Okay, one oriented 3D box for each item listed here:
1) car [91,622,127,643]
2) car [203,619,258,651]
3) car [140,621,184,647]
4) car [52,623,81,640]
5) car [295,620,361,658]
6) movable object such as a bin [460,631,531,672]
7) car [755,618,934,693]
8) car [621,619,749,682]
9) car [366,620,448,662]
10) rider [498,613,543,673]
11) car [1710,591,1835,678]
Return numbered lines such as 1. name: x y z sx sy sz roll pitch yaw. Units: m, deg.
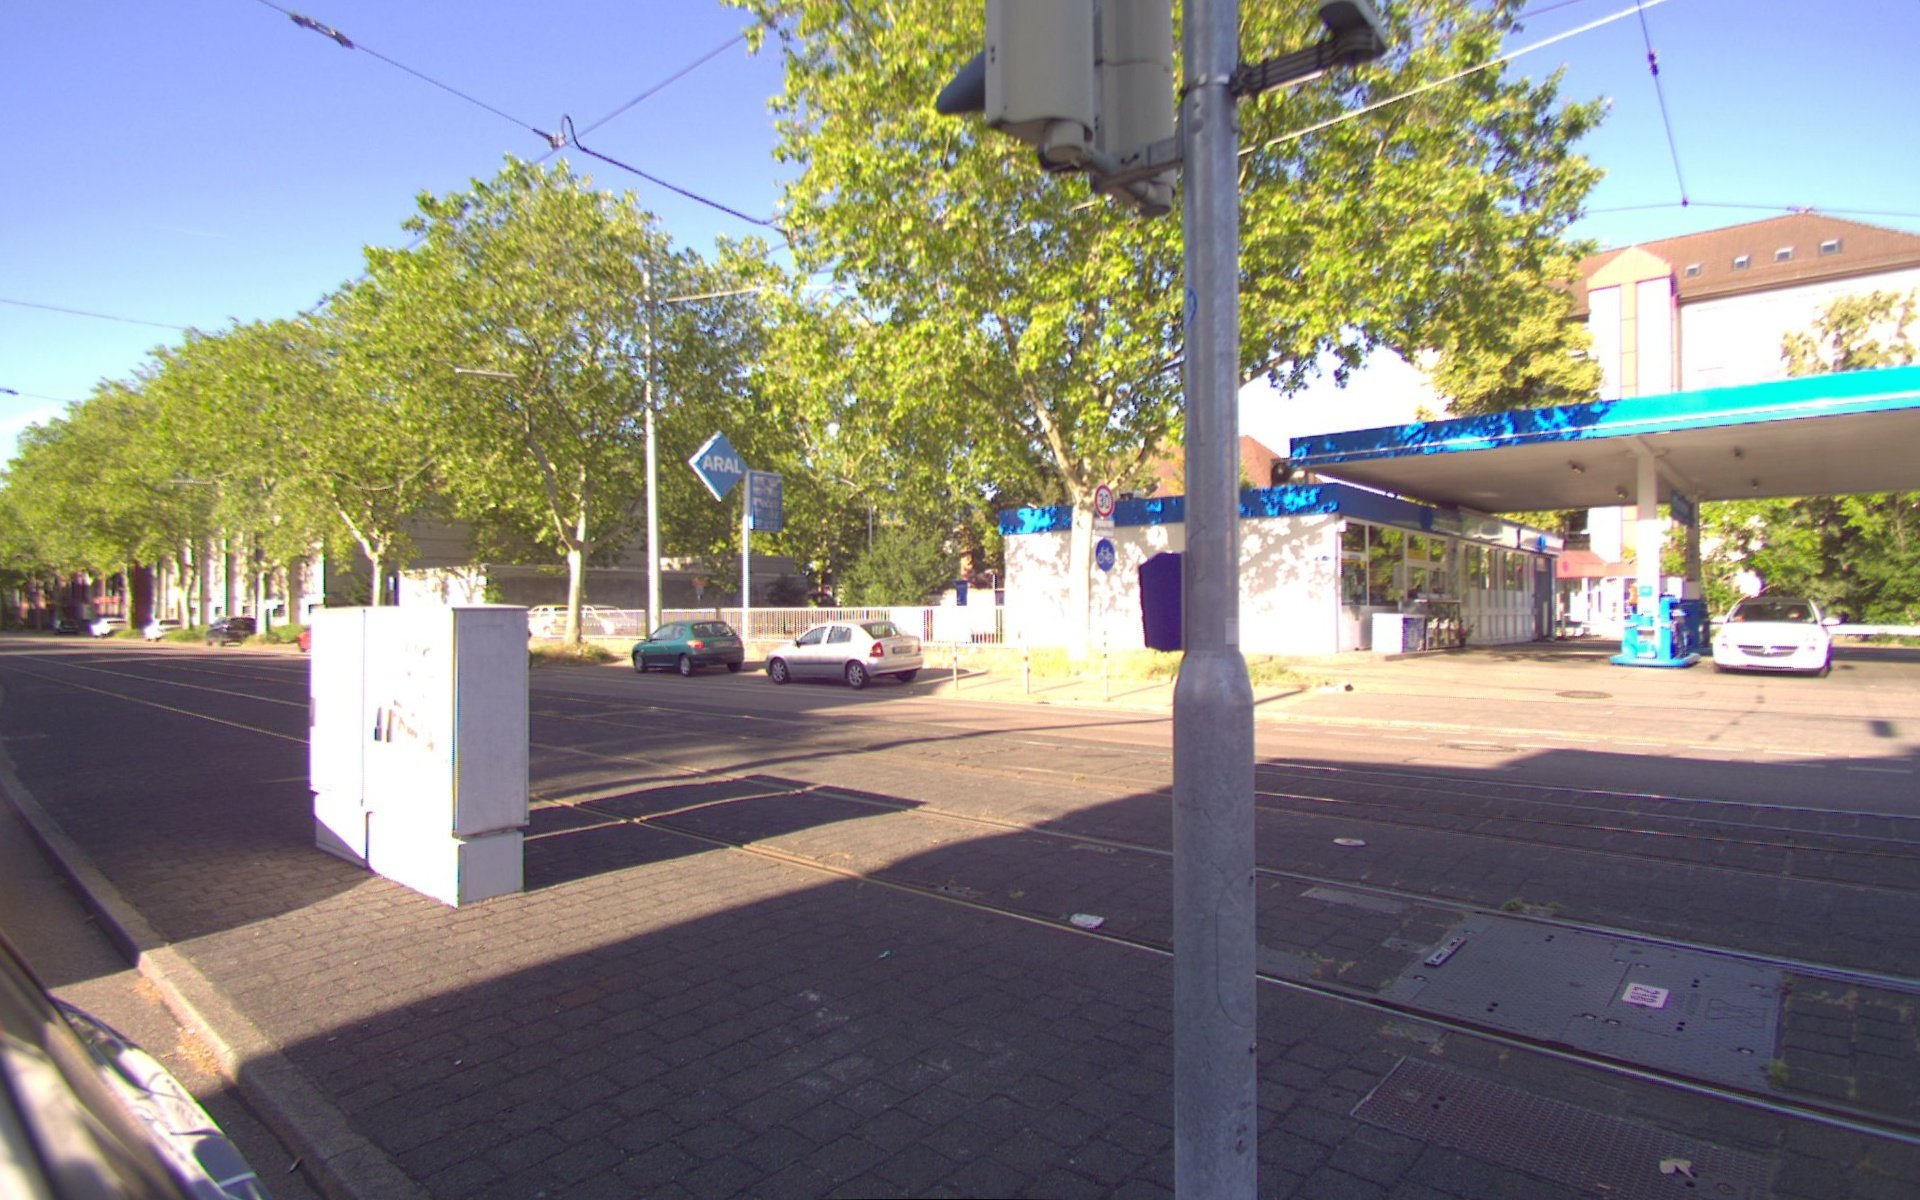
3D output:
1. car: -66.791 2.495 79.412 3.731 1.471 1.639 -1 2 43
2. car: -40.713 1.939 56.449 3.878 1.603 1.731 -1 2 43
3. car: -53.767 2.285 68.175 3.878 1.552 1.731 -1 2 43
4. car: -85.039 3.005 96.331 3.731 1.471 1.639 -1 2 43
5. car: -28.732 1.747 45.979 3.377 1.506 1.639 -1 2 43
6. movable object such as a bin: -13.595 1.486 29.620 1.831 1.111 1.164 -1 0 36
7. car: -2.632 1.184 22.599 3.987 1.376 1.666 -2 3 41
8. car: -7.353 1.292 26.917 3.606 1.455 1.598 -1 2 43
9. car: -21.829 1.562 39.891 3.769 1.455 1.701 -1 2 43
10. rider: -12.561 1.201 28.906 1.104 1.660 0.717 -1 0 36
11. car: 15.883 0.595 19.711 1.743 1.446 3.882 -1 1 41
